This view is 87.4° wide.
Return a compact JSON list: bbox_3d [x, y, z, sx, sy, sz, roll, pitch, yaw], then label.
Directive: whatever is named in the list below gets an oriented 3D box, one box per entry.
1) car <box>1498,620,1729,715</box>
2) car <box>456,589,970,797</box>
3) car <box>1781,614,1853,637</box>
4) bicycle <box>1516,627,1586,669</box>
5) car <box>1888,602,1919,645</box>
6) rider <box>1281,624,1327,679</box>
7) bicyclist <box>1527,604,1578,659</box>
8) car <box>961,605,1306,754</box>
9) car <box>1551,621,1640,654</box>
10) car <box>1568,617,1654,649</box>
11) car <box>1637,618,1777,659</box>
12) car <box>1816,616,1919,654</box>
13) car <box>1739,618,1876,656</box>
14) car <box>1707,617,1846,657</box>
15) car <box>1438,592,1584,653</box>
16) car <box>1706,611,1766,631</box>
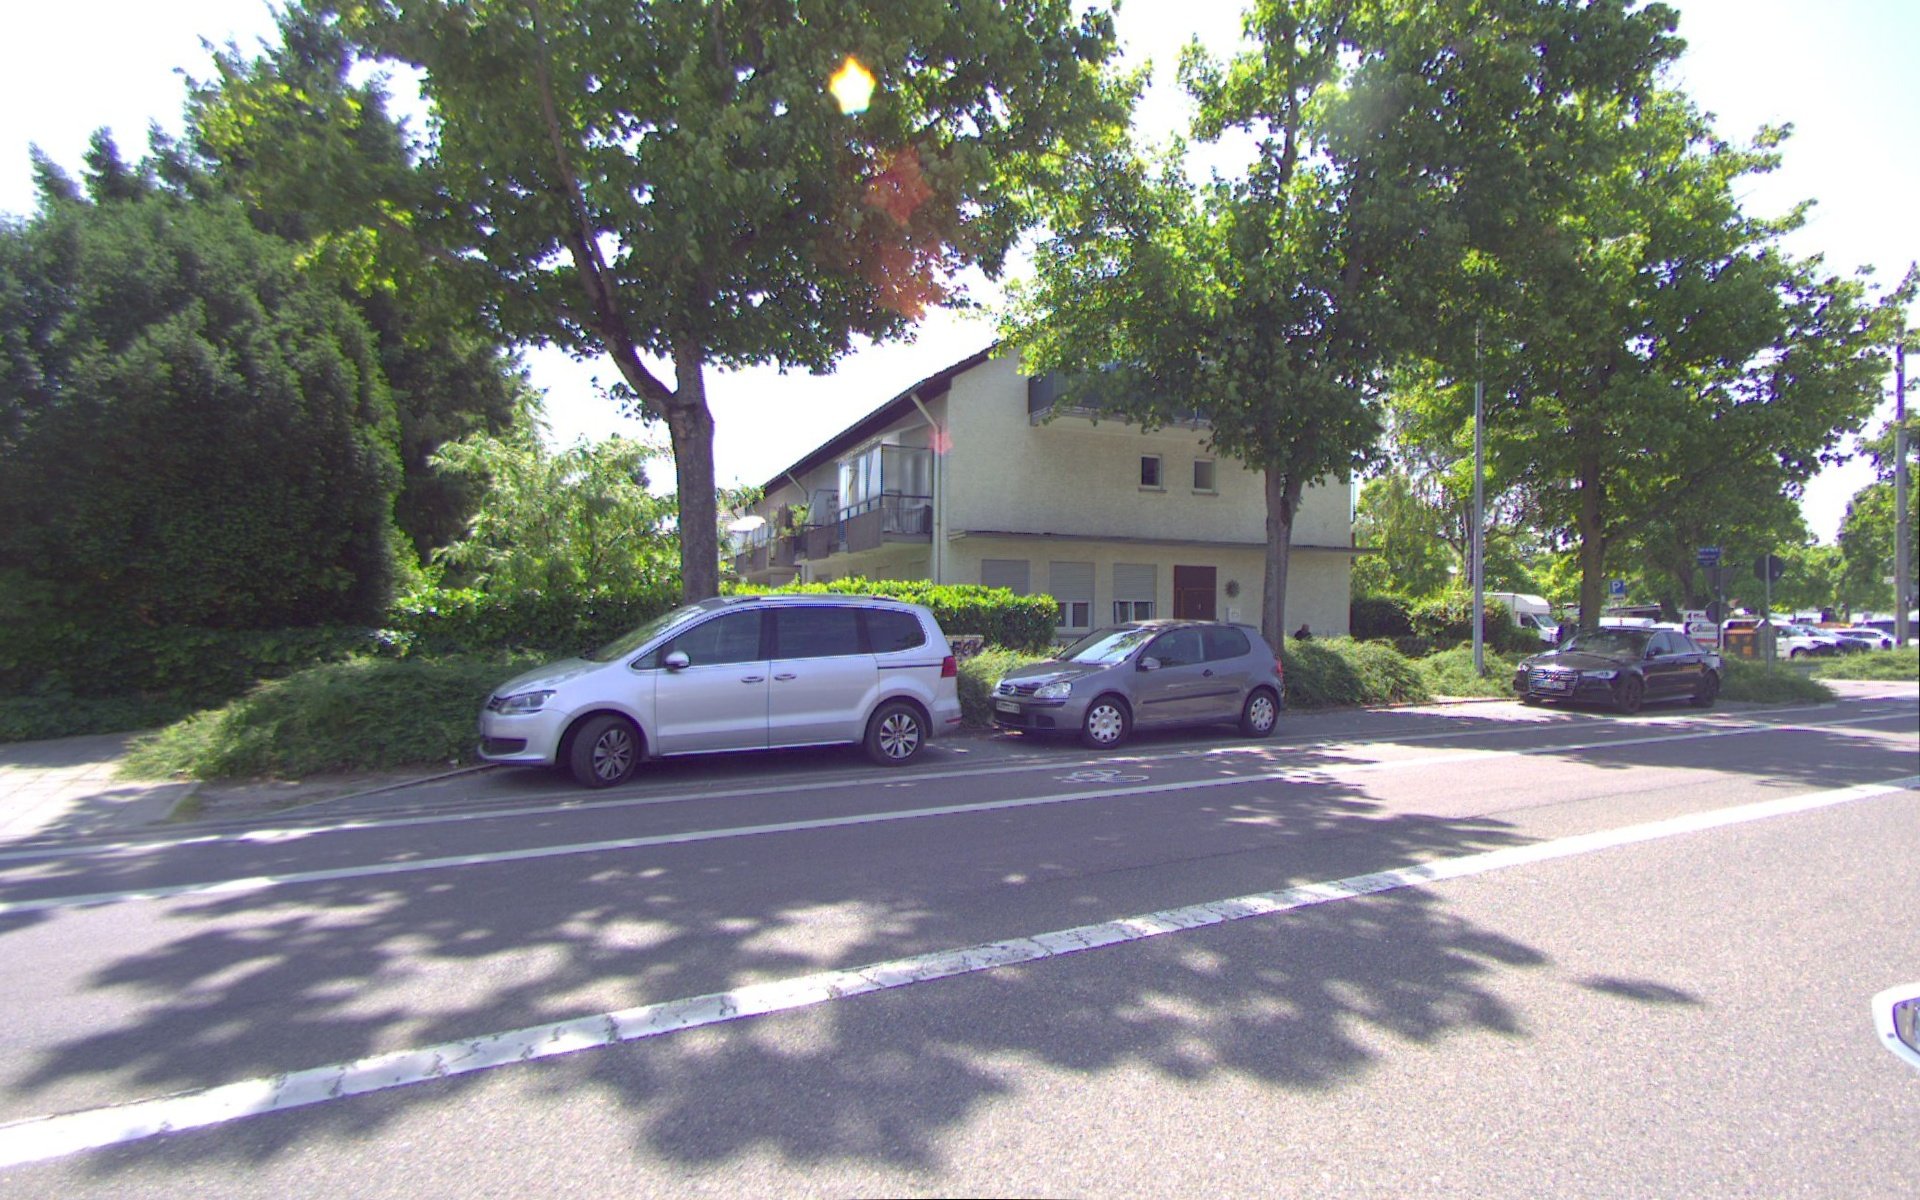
[{"bbox_3d":[12.129,1.169,18.587,4.397,1.496,1.809,1,1,-31],"label":"car"},{"bbox_3d":[-2.396,0.769,10.136,4.725,1.687,1.863,1,0,-31],"label":"car"},{"bbox_3d":[67.956,2.004,79.698,1.795,1.638,4.000,2,1,-30],"label":"car"},{"bbox_3d":[15.633,1.268,26.577,1.805,1.043,0.698,2,1,-27],"label":"bicycle"},{"bbox_3d":[53.891,1.376,54.191,2.349,2.274,5.076,2,1,-28],"label":"car"},{"bbox_3d":[8.944,1.320,26.151,0.800,1.392,0.824,1,-1,-22],"label":"rider"},{"bbox_3d":[15.701,0.823,26.620,0.817,1.392,0.806,2,1,-27],"label":"bicyclist"},{"bbox_3d":[2.257,0.901,12.807,4.132,1.585,1.809,1,1,-31],"label":"car"},{"bbox_3d":[37.143,2.155,58.782,1.799,1.675,3.957,2,1,-37],"label":"car"},{"bbox_3d":[39.035,1.951,60.291,1.799,1.675,3.957,2,1,-37],"label":"car"},{"bbox_3d":[30.959,1.569,41.762,1.891,1.606,4.321,1,-1,-31],"label":"car"},{"bbox_3d":[44.763,1.670,49.139,1.975,1.769,3.968,1,-1,-30],"label":"car"},{"bbox_3d":[37.937,1.613,45.082,1.886,1.606,4.333,1,-1,-23],"label":"car"},{"bbox_3d":[35.462,1.573,43.768,1.886,1.606,4.332,1,-1,-24],"label":"car"},{"bbox_3d":[30.360,1.155,55.660,2.337,3.005,6.817,2,1,-30],"label":"car"},{"bbox_3d":[72.095,1.926,93.347,1.794,1.638,4.003,2,1,-28],"label":"car"}]
